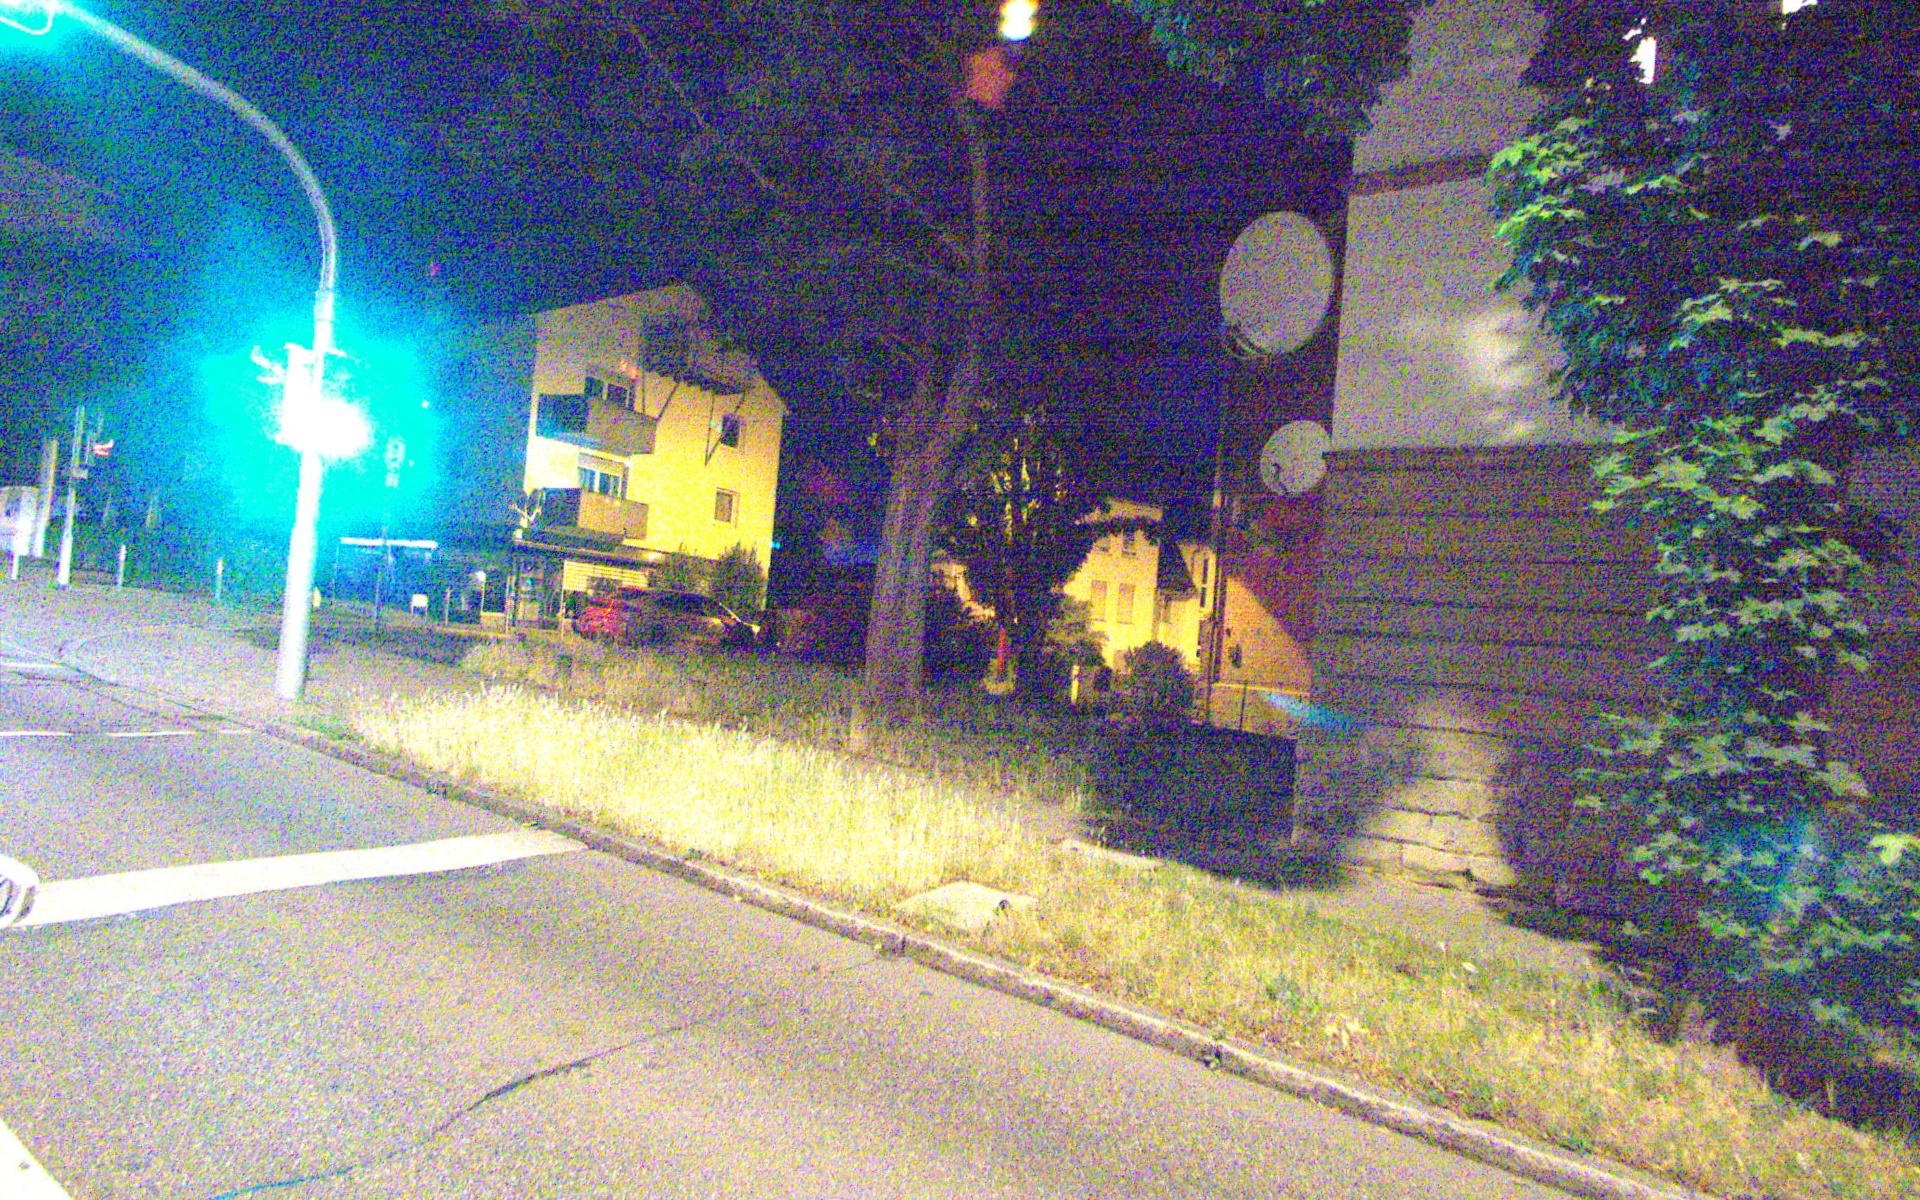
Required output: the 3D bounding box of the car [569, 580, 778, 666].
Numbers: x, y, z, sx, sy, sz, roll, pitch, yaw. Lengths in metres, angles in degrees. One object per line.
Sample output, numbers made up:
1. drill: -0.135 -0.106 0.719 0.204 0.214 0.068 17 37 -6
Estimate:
1. car: -6.514 0.584 23.300 1.778 1.577 4.366 3 -3 38
